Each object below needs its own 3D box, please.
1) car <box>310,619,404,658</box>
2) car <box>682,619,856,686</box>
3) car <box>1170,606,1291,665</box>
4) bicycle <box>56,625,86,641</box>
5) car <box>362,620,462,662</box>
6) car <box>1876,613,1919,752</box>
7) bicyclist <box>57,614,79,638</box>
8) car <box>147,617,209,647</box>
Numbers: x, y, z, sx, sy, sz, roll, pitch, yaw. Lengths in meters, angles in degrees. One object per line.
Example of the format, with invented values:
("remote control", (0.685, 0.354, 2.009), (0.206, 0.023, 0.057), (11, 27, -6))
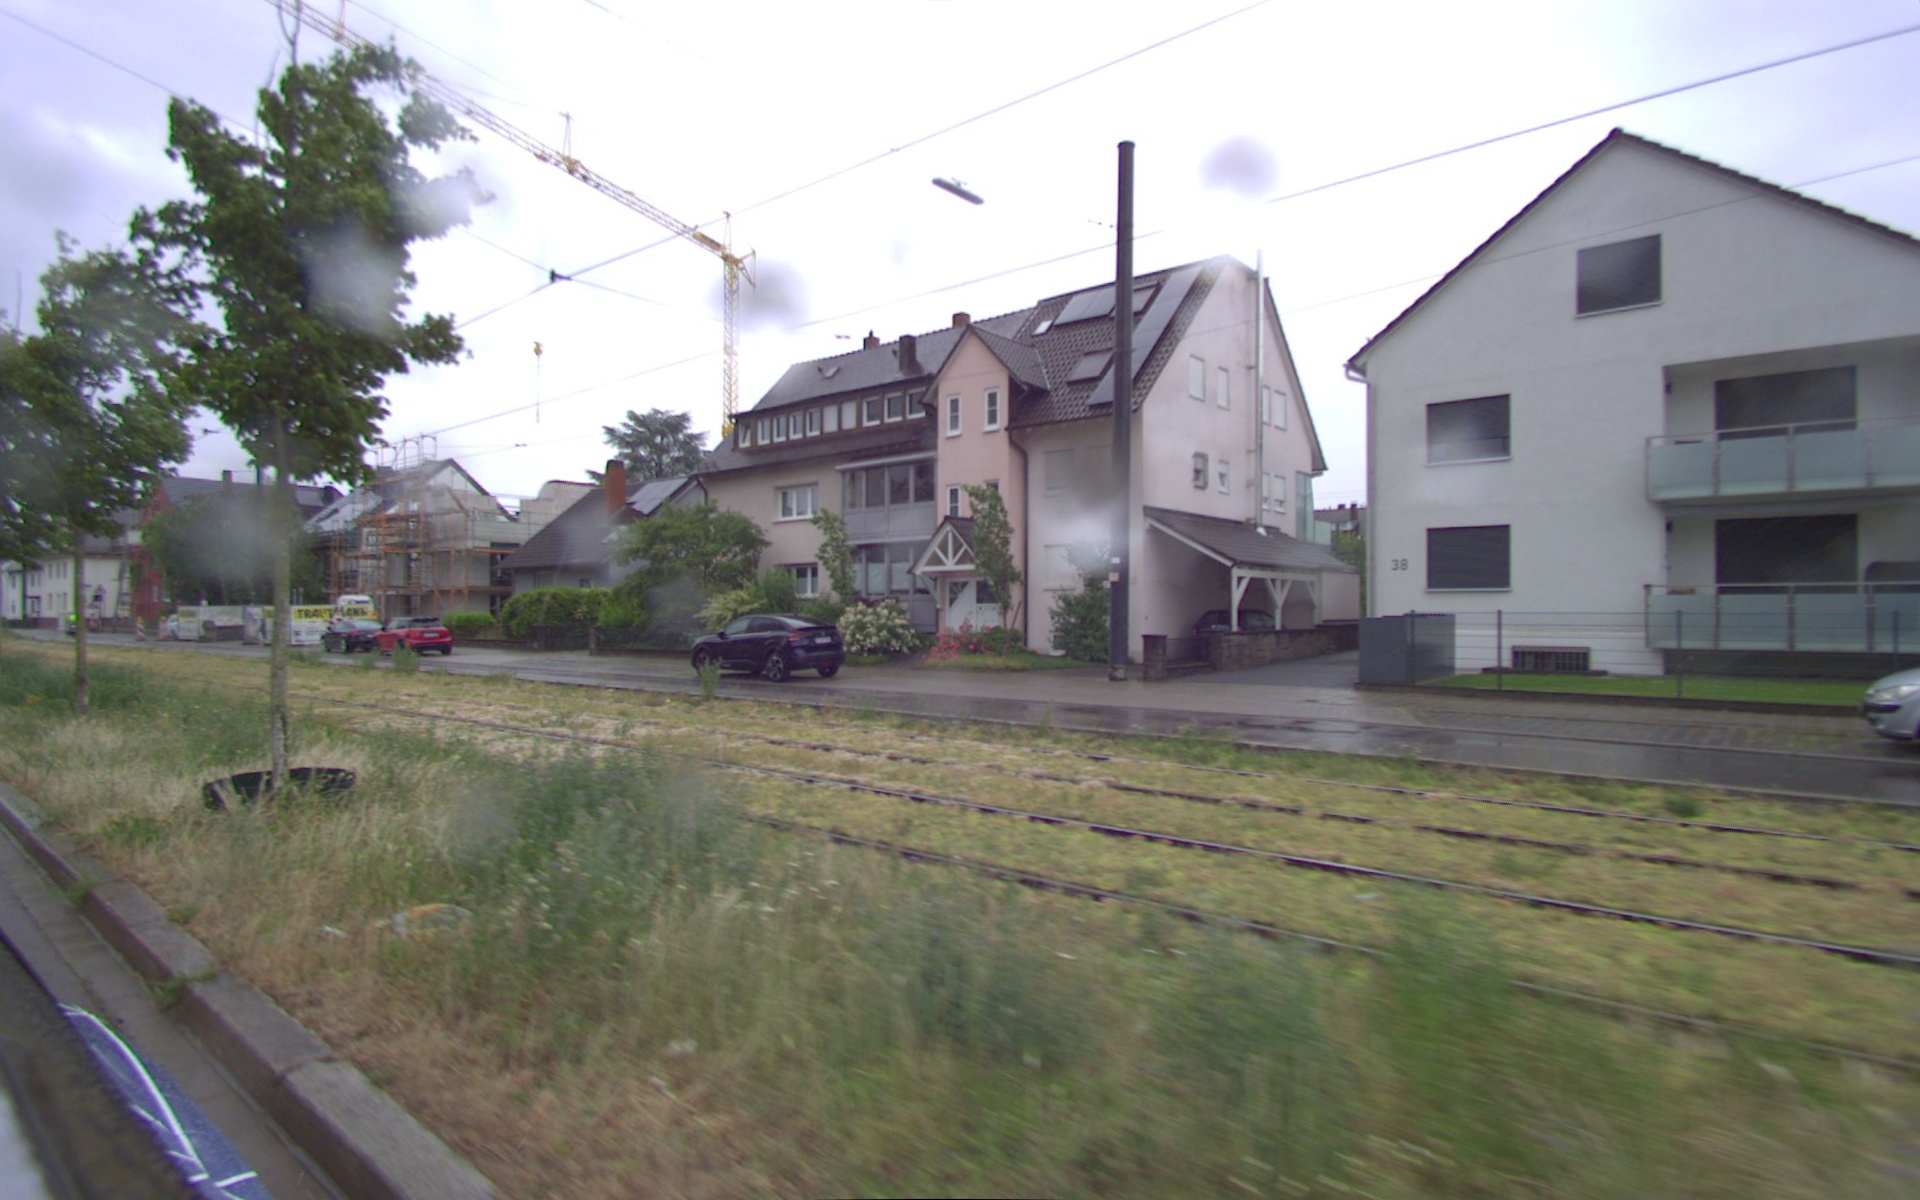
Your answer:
("car", (-24.349, 1.560, 40.833), (4.170, 1.420, 1.974), (-3, -1, 39))
("car", (-4.614, 1.202, 24.148), (4.170, 1.437, 1.818), (-2, -1, 39))
("car", (7.743, 0.942, 28.750), (1.841, 1.512, 3.946), (0, 0, 40))
("bicycle", (-60.977, 2.257, 69.383), (3.430, 1.051, 0.925), (-1, -2, 39))
("car", (-20.458, 1.493, 37.748), (3.840, 1.383, 1.974), (0, 0, 39))
("car", (11.922, 0.880, 10.355), (3.654, 1.424, 1.974), (0, 0, 39))
("bicyclist", (-61.393, 1.755, 69.677), (1.399, 1.596, 0.944), (0, 0, 40))
("car", (-47.476, 1.925, 61.422), (4.245, 1.640, 1.975), (0, 0, 38))
